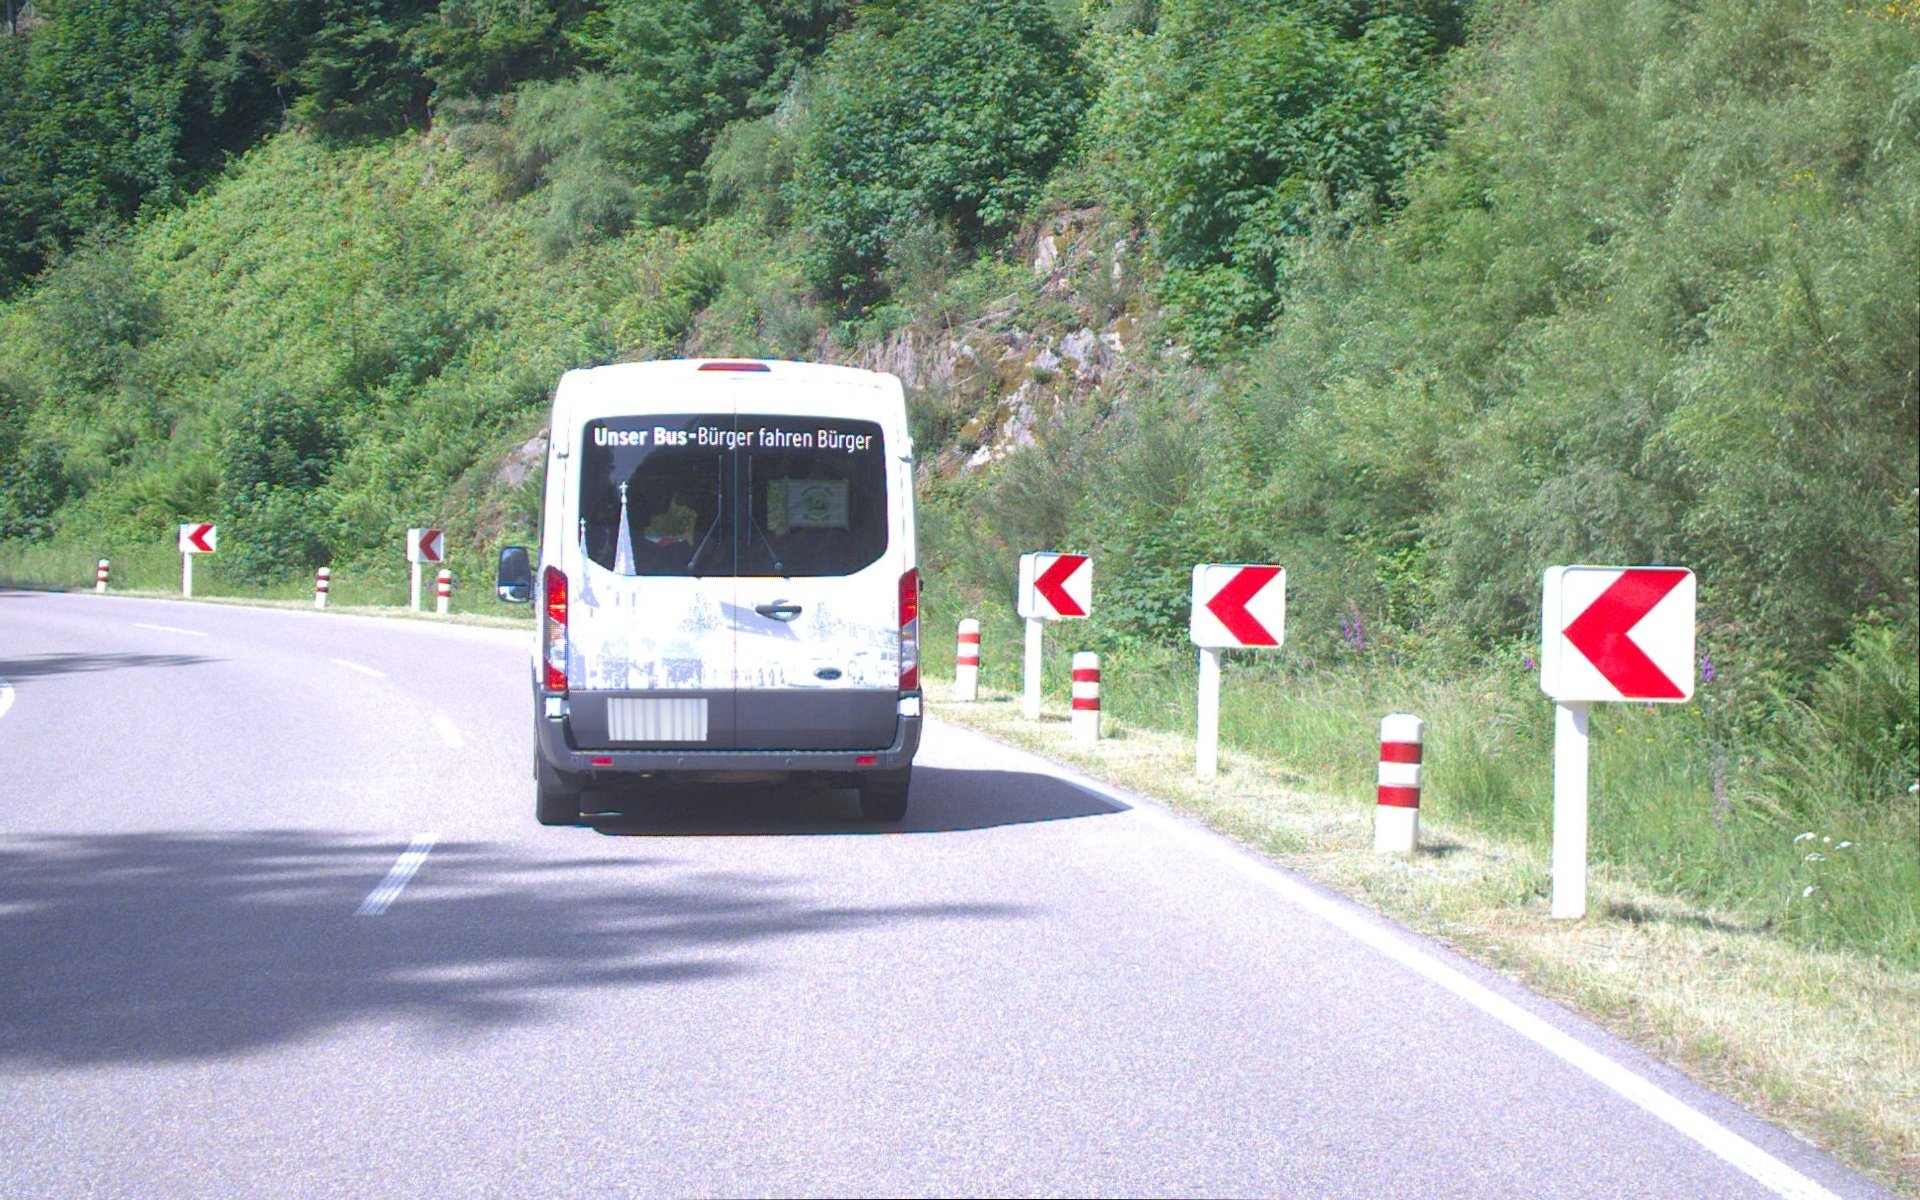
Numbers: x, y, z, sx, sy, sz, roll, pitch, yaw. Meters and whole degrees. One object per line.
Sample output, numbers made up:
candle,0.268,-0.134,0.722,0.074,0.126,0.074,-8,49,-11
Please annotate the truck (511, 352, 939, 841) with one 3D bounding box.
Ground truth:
truck,-1.492,-0.058,19.768,2.083,2.451,4.876,0,1,-8
